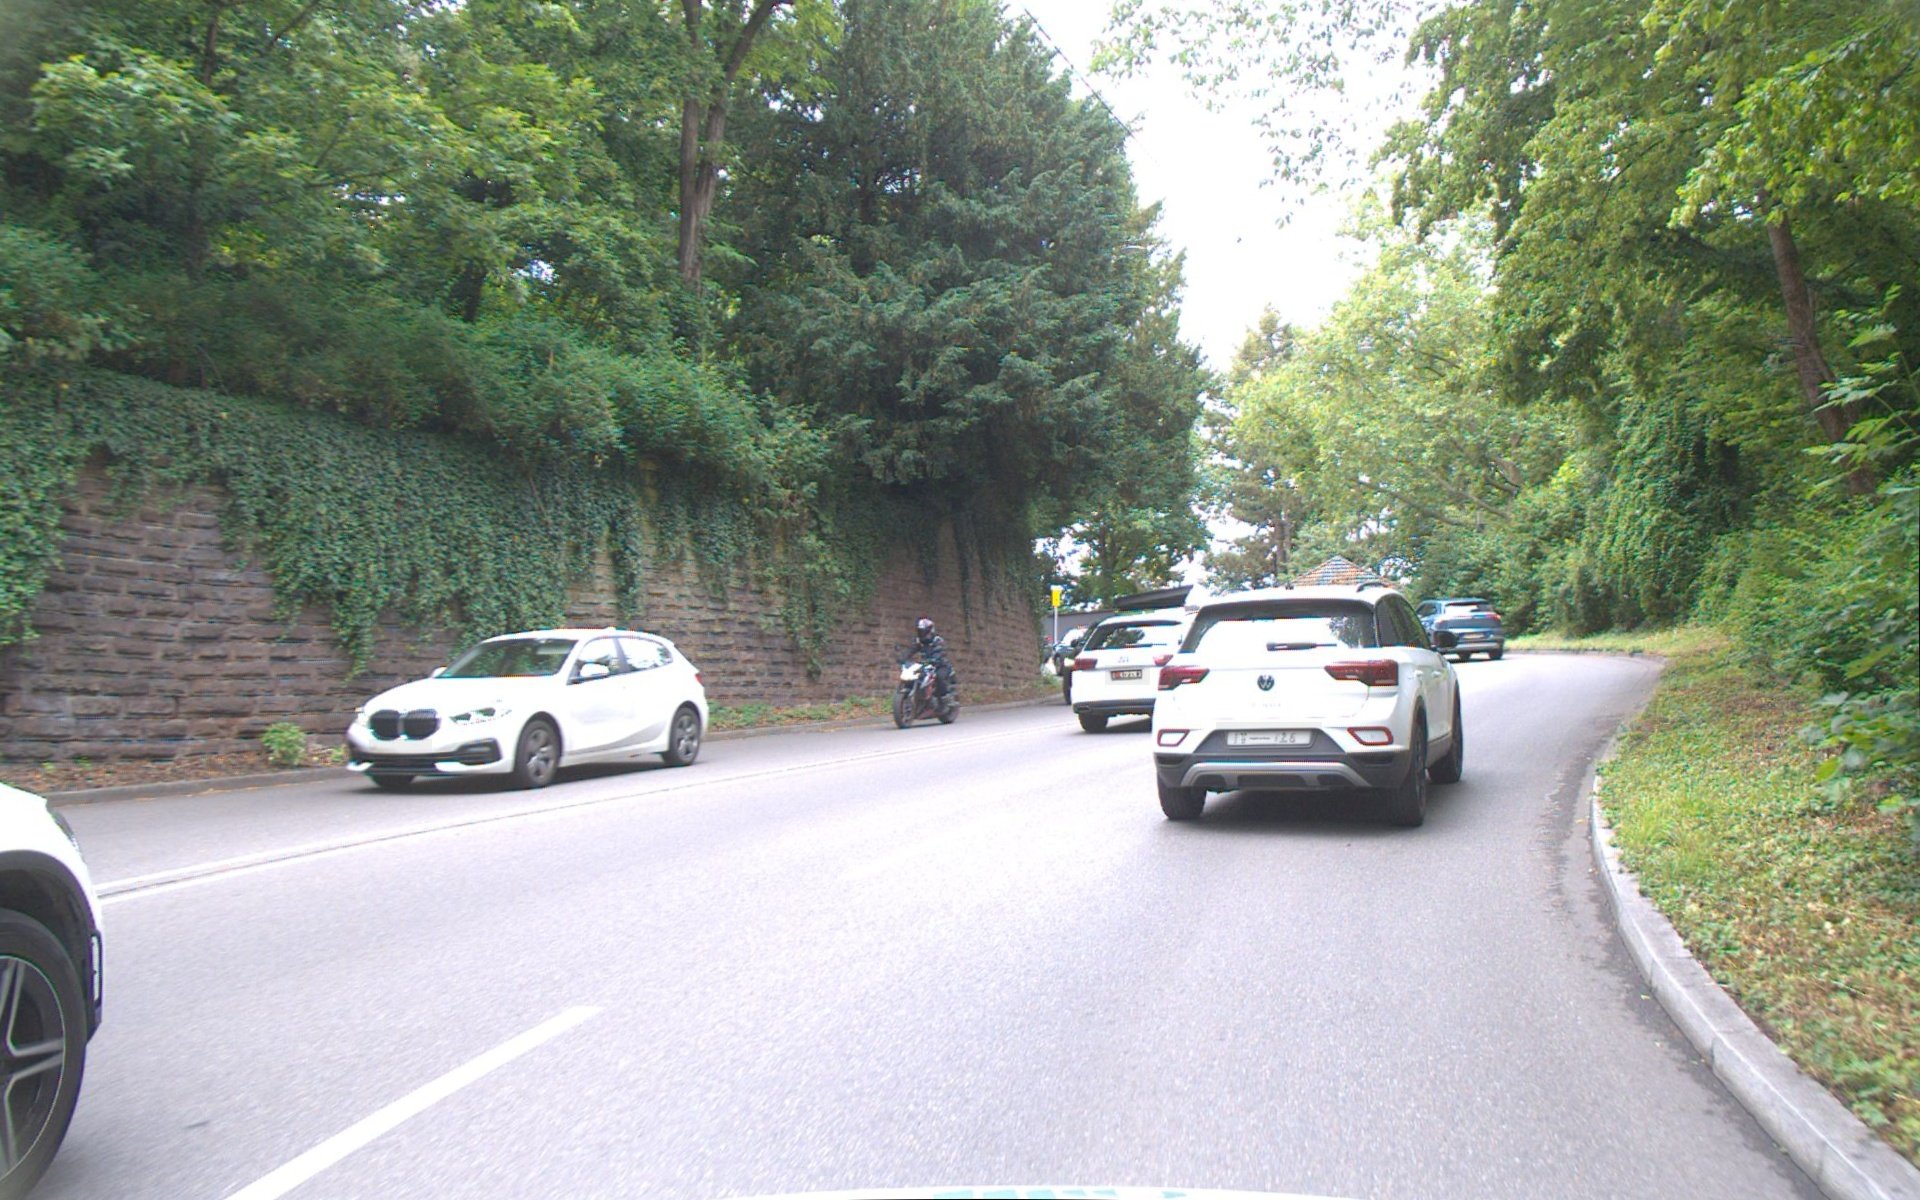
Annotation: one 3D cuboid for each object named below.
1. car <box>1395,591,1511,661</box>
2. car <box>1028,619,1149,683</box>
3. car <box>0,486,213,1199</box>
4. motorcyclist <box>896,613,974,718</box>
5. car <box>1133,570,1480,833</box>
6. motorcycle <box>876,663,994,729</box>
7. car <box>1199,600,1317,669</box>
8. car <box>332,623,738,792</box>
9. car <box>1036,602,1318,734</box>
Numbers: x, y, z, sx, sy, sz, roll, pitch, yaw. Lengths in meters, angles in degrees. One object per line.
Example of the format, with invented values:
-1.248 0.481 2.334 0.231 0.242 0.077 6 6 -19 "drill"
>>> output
12.322 0.696 41.576 1.636 1.527 4.023 -5 -2 0 "car"
3.731 1.531 48.810 1.834 1.625 4.604 -3 -3 -19 "car"
-3.106 0.525 2.285 1.820 1.634 4.672 0 -1 3 "car"
-0.384 1.002 25.411 0.732 1.556 1.094 -4 -3 26 "motorcyclist"
2.746 0.618 12.280 1.719 1.580 4.336 -1 0 23 "car"
-0.348 1.458 25.443 0.792 0.905 2.427 -4 -3 25 "motorcycle"
8.598 1.043 48.175 1.926 1.794 4.211 -4 -2 -11 "car"
-4.034 1.012 16.496 1.710 1.441 4.329 -2 -2 21 "car"
3.032 0.854 22.181 1.832 1.561 4.762 -3 -2 33 "car"
